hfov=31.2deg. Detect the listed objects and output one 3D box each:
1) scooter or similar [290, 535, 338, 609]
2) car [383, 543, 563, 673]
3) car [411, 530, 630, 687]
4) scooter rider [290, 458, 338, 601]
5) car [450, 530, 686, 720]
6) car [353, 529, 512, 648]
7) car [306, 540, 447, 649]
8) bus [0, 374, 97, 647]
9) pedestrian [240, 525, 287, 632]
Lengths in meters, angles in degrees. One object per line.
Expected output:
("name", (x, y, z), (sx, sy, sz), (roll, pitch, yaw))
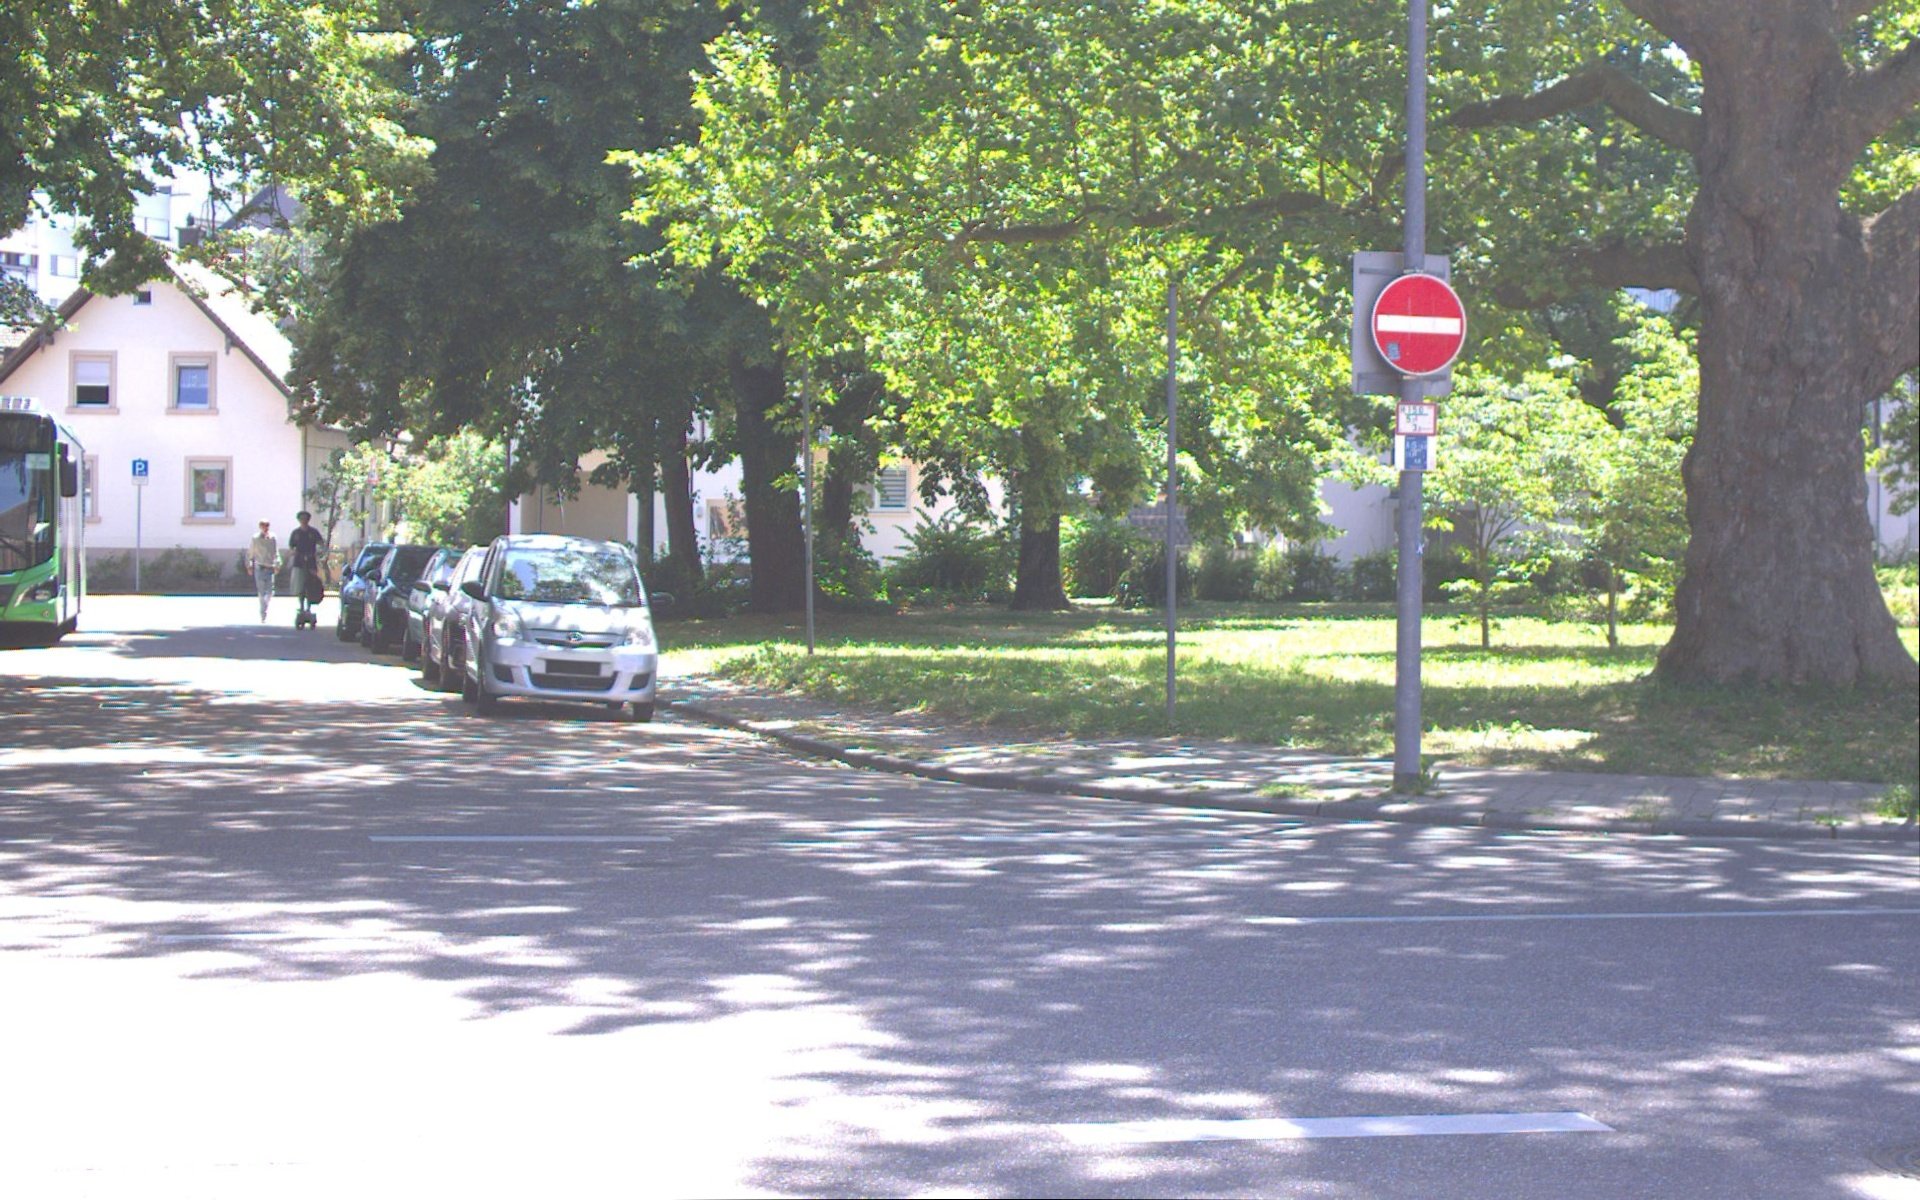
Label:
("scooter or similar", (-10.507, -0.460, 55.877), (0.738, 1.179, 1.519), (0, 1, -12))
("car", (-5.941, 0.055, 41.539), (1.750, 1.434, 4.771), (0, 1, -13))
("car", (-4.578, 0.040, 35.293), (1.750, 1.434, 4.505), (2, 1, -13))
("scooter rider", (-10.499, -1.145, 55.873), (0.738, 2.310, 0.927), (0, 1, -12))
("car", (-3.444, 0.175, 29.726), (1.594, 1.492, 3.487), (2, 1, -13))
("car", (-7.128, -0.191, 46.141), (1.754, 1.488, 4.377), (0, 1, -13))
("car", (-8.529, -0.103, 50.029), (1.754, 1.488, 3.919), (0, 1, -13))
("bus", (-13.958, -1.263, 49.076), (2.867, 3.283, 15.957), (0, 1, -13))
("pedestrian", (-11.836, -0.372, 58.426), (0.719, 1.796, 0.941), (0, 1, -7))
